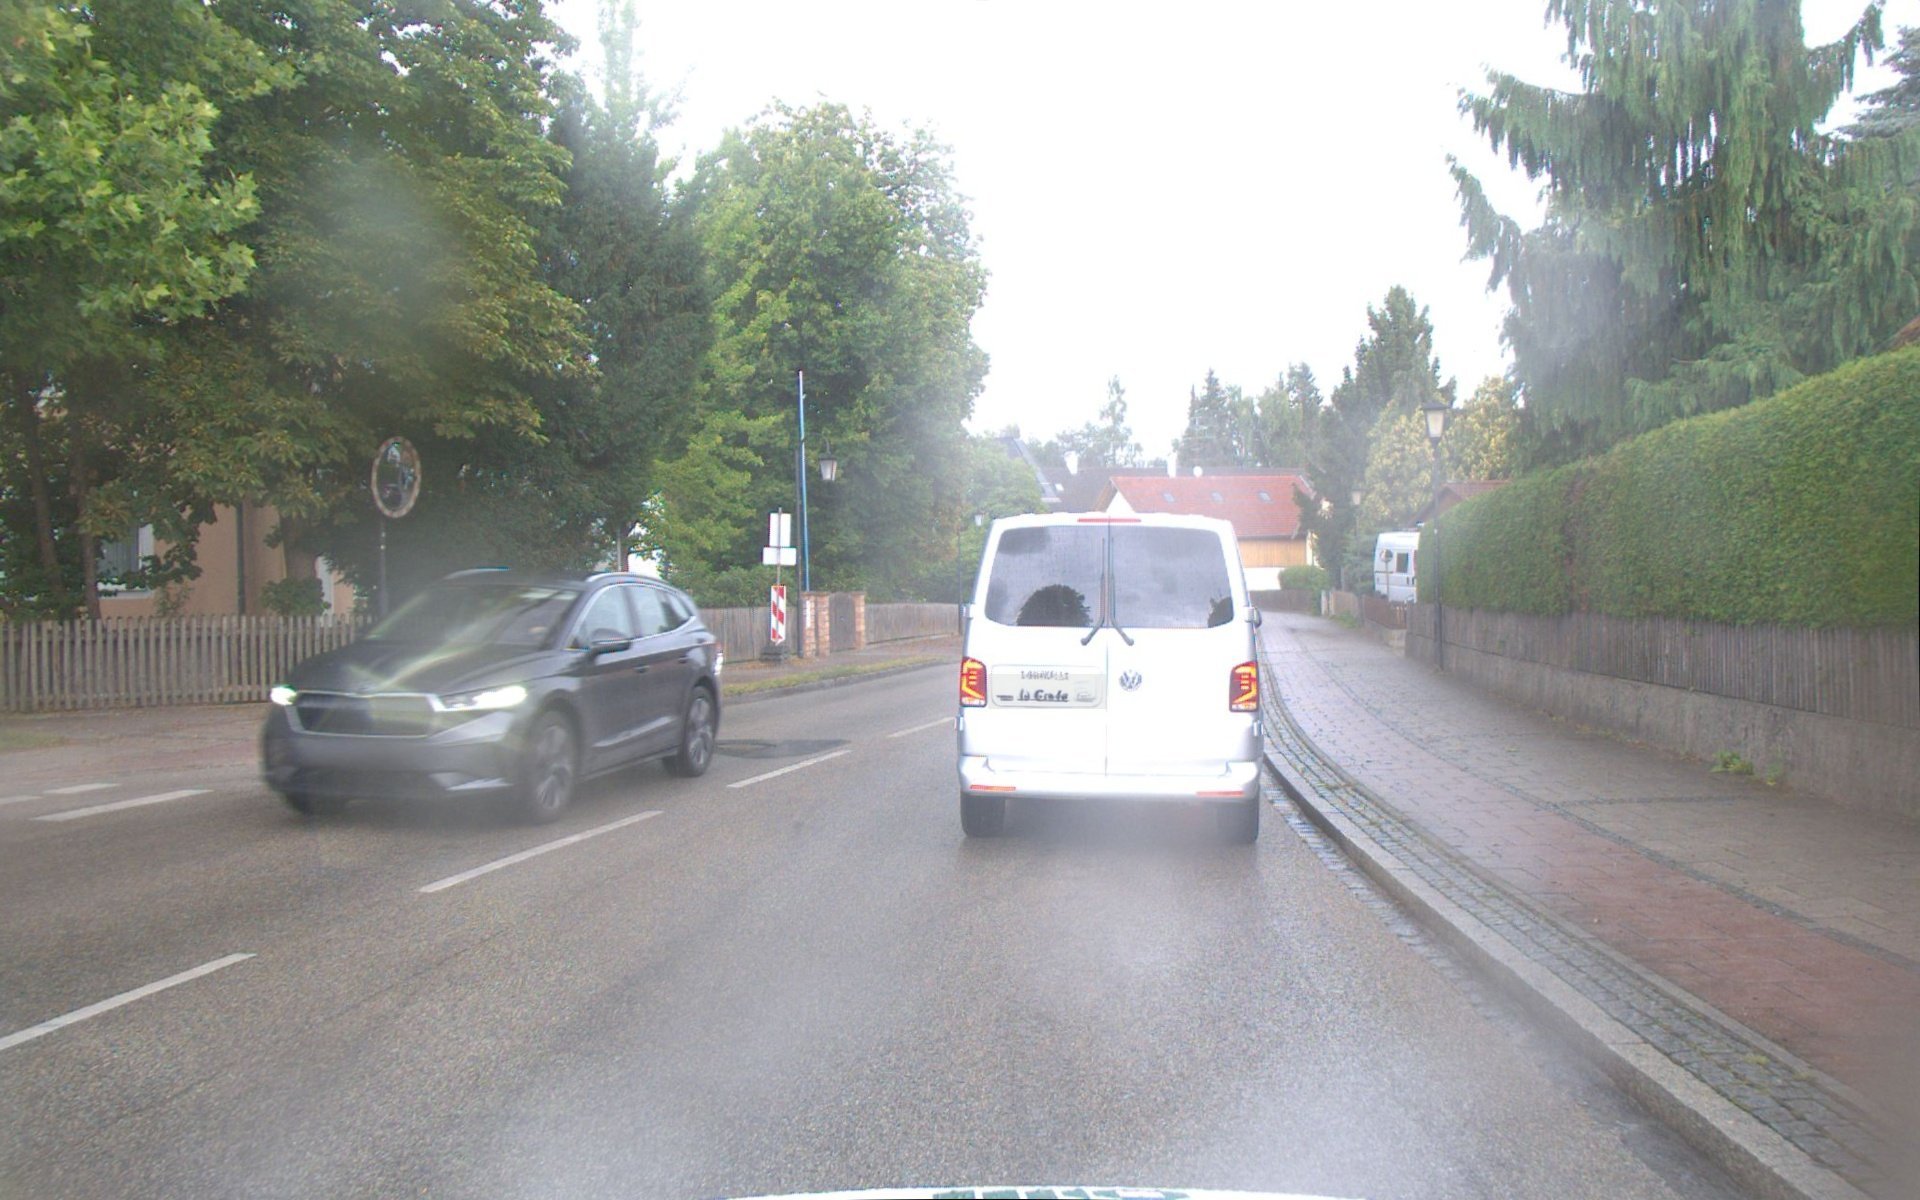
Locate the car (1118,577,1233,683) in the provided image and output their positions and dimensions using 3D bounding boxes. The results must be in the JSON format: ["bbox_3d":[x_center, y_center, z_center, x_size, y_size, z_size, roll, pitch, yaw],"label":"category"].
[{"bbox_3d":[3.659,0.481,27.698,1.762,1.616,4.003,1,0,9],"label":"car"}]

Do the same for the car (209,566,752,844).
[{"bbox_3d":[-3.182,0.606,12.003,1.951,1.623,4.195,1,0,13],"label":"car"}]

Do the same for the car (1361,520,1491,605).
[{"bbox_3d":[12.923,-0.985,46.164,1.954,2.211,4.949,1,0,-4],"label":"car"}]

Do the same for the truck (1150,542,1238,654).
[{"bbox_3d":[7.111,-0.036,49.927,2.422,3.128,6.301,1,0,9],"label":"truck"}]

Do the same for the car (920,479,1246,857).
[{"bbox_3d":[0.861,0.375,11.102,1.762,2.049,4.002,1,0,5],"label":"car"}]

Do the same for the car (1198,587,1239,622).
[{"bbox_3d":[11.828,0.217,75.705,1.762,1.534,4.003,1,0,9],"label":"car"}]
